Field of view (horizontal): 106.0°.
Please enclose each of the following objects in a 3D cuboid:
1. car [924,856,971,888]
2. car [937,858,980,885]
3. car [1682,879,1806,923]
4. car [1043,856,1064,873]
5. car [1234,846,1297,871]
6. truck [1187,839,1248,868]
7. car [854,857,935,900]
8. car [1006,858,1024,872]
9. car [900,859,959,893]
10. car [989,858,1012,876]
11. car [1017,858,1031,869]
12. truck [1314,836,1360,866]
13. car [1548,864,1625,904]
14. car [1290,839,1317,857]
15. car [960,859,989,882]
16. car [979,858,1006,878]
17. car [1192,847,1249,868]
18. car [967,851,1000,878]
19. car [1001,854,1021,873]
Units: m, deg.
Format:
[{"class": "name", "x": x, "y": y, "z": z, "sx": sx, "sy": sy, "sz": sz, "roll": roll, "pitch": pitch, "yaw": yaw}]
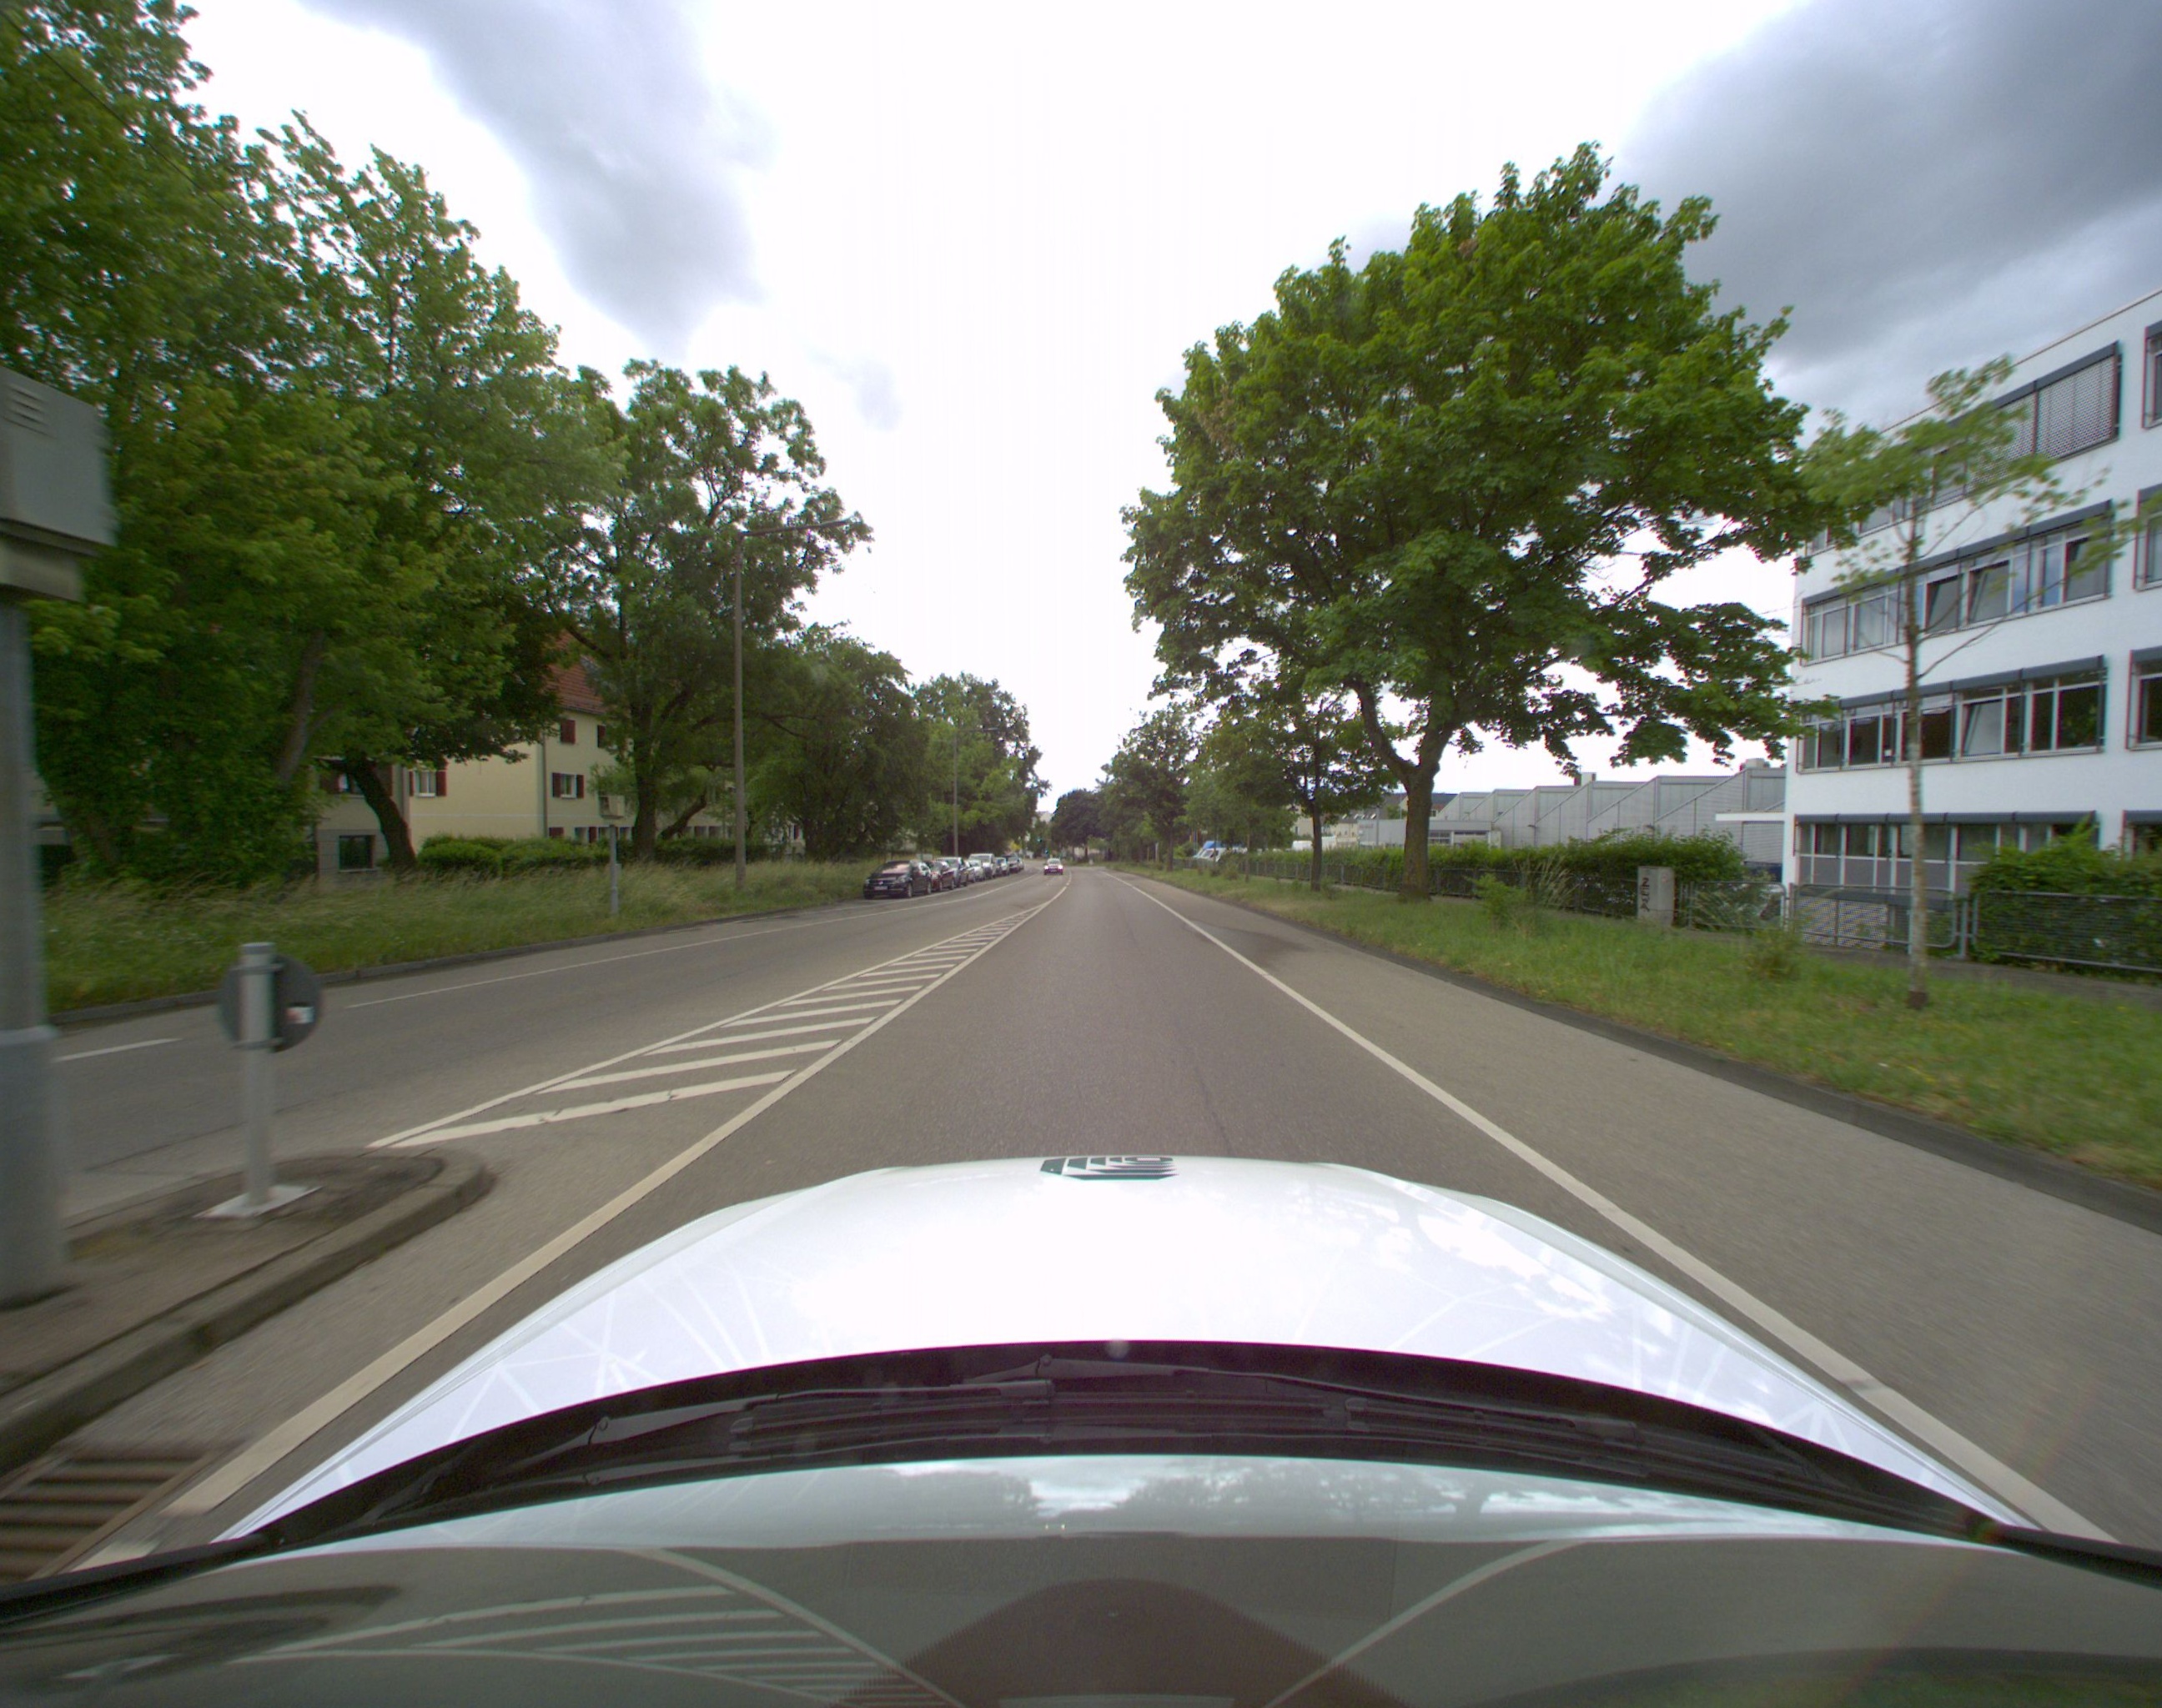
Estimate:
[{"class": "car", "x": -6.997, "y": 0.917, "z": 43.088, "sx": 1.762, "sy": 1.592, "sz": 4.134, "roll": -1, "pitch": 0, "yaw": 0}, {"class": "car", "x": -7.493, "y": 1.061, "z": 50.132, "sx": 1.761, "sy": 1.495, "sz": 4.359, "roll": -2, "pitch": 0, "yaw": 2}, {"class": "car", "x": 30.010, "y": 2.097, "z": 36.989, "sx": 3.969, "sy": 1.875, "sz": 2.002, "roll": 0, "pitch": -1, "yaw": 3}, {"class": "car", "x": -2.439, "y": 0.958, "z": 73.498, "sx": 1.631, "sy": 1.467, "sz": 4.001, "roll": -2, "pitch": -1, "yaw": 1}, {"class": "car", "x": 16.376, "y": 0.403, "z": 72.233, "sx": 5.271, "sy": 2.188, "sz": 2.054, "roll": 0, "pitch": -1, "yaw": -26}, {"class": "truck", "x": 16.651, "y": -0.088, "z": 99.160, "sx": 7.199, "sy": 3.477, "sz": 2.597, "roll": -1, "pitch": 0, "yaw": -25}, {"class": "car", "x": -7.333, "y": 0.928, "z": 32.508, "sx": 1.867, "sy": 1.570, "sz": 4.655, "roll": 0, "pitch": 0, "yaw": 4}, {"class": "car", "x": -7.741, "y": 1.290, "z": 95.498, "sx": 1.761, "sy": 1.633, "sz": 4.155, "roll": -1, "pitch": 0, "yaw": -1}, {"class": "car", "x": -6.950, "y": 0.979, "z": 37.835, "sx": 1.760, "sy": 1.447, "sz": 4.153, "roll": -1, "pitch": 0, "yaw": 3}, {"class": "car", "x": -7.097, "y": 1.121, "z": 71.955, "sx": 1.668, "sy": 1.564, "sz": 4.278, "roll": -1, "pitch": 0, "yaw": -1}, {"class": "car", "x": -7.884, "y": 1.326, "z": 113.522, "sx": 1.762, "sy": 1.573, "sz": 4.755, "roll": -1, "pitch": -1, "yaw": -2}, {"class": "truck", "x": 31.269, "y": -0.345, "z": 99.794, "sx": 2.843, "sy": 3.459, "sz": 9.543, "roll": 0, "pitch": -1, "yaw": 1}, {"class": "car", "x": 28.178, "y": 1.629, "z": 45.555, "sx": 1.986, "sy": 2.145, "sz": 4.002, "roll": 0, "pitch": -1, "yaw": 2}, {"class": "car", "x": 35.242, "y": -0.980, "z": 128.903, "sx": 2.233, "sy": 2.676, "sz": 5.485, "roll": 0, "pitch": 2, "yaw": 38}, {"class": "car", "x": -7.141, "y": 1.096, "z": 54.837, "sx": 1.631, "sy": 1.433, "sz": 3.945, "roll": 0, "pitch": 0, "yaw": -4}, {"class": "car", "x": -7.278, "y": 1.132, "z": 67.198, "sx": 1.667, "sy": 1.488, "sz": 4.045, "roll": -2, "pitch": -1, "yaw": 1}, {"class": "car", "x": 15.626, "y": 0.417, "z": 91.165, "sx": 6.038, "sy": 2.367, "sz": 2.343, "roll": 0, "pitch": -1, "yaw": -24}, {"class": "car", "x": -7.234, "y": 0.765, "z": 60.807, "sx": 1.762, "sy": 1.931, "sz": 5.155, "roll": 0, "pitch": 0, "yaw": 0}, {"class": "car", "x": -7.400, "y": 1.032, "z": 86.603, "sx": 1.861, "sy": 1.963, "sz": 5.123, "roll": -1, "pitch": 0, "yaw": -2}]
